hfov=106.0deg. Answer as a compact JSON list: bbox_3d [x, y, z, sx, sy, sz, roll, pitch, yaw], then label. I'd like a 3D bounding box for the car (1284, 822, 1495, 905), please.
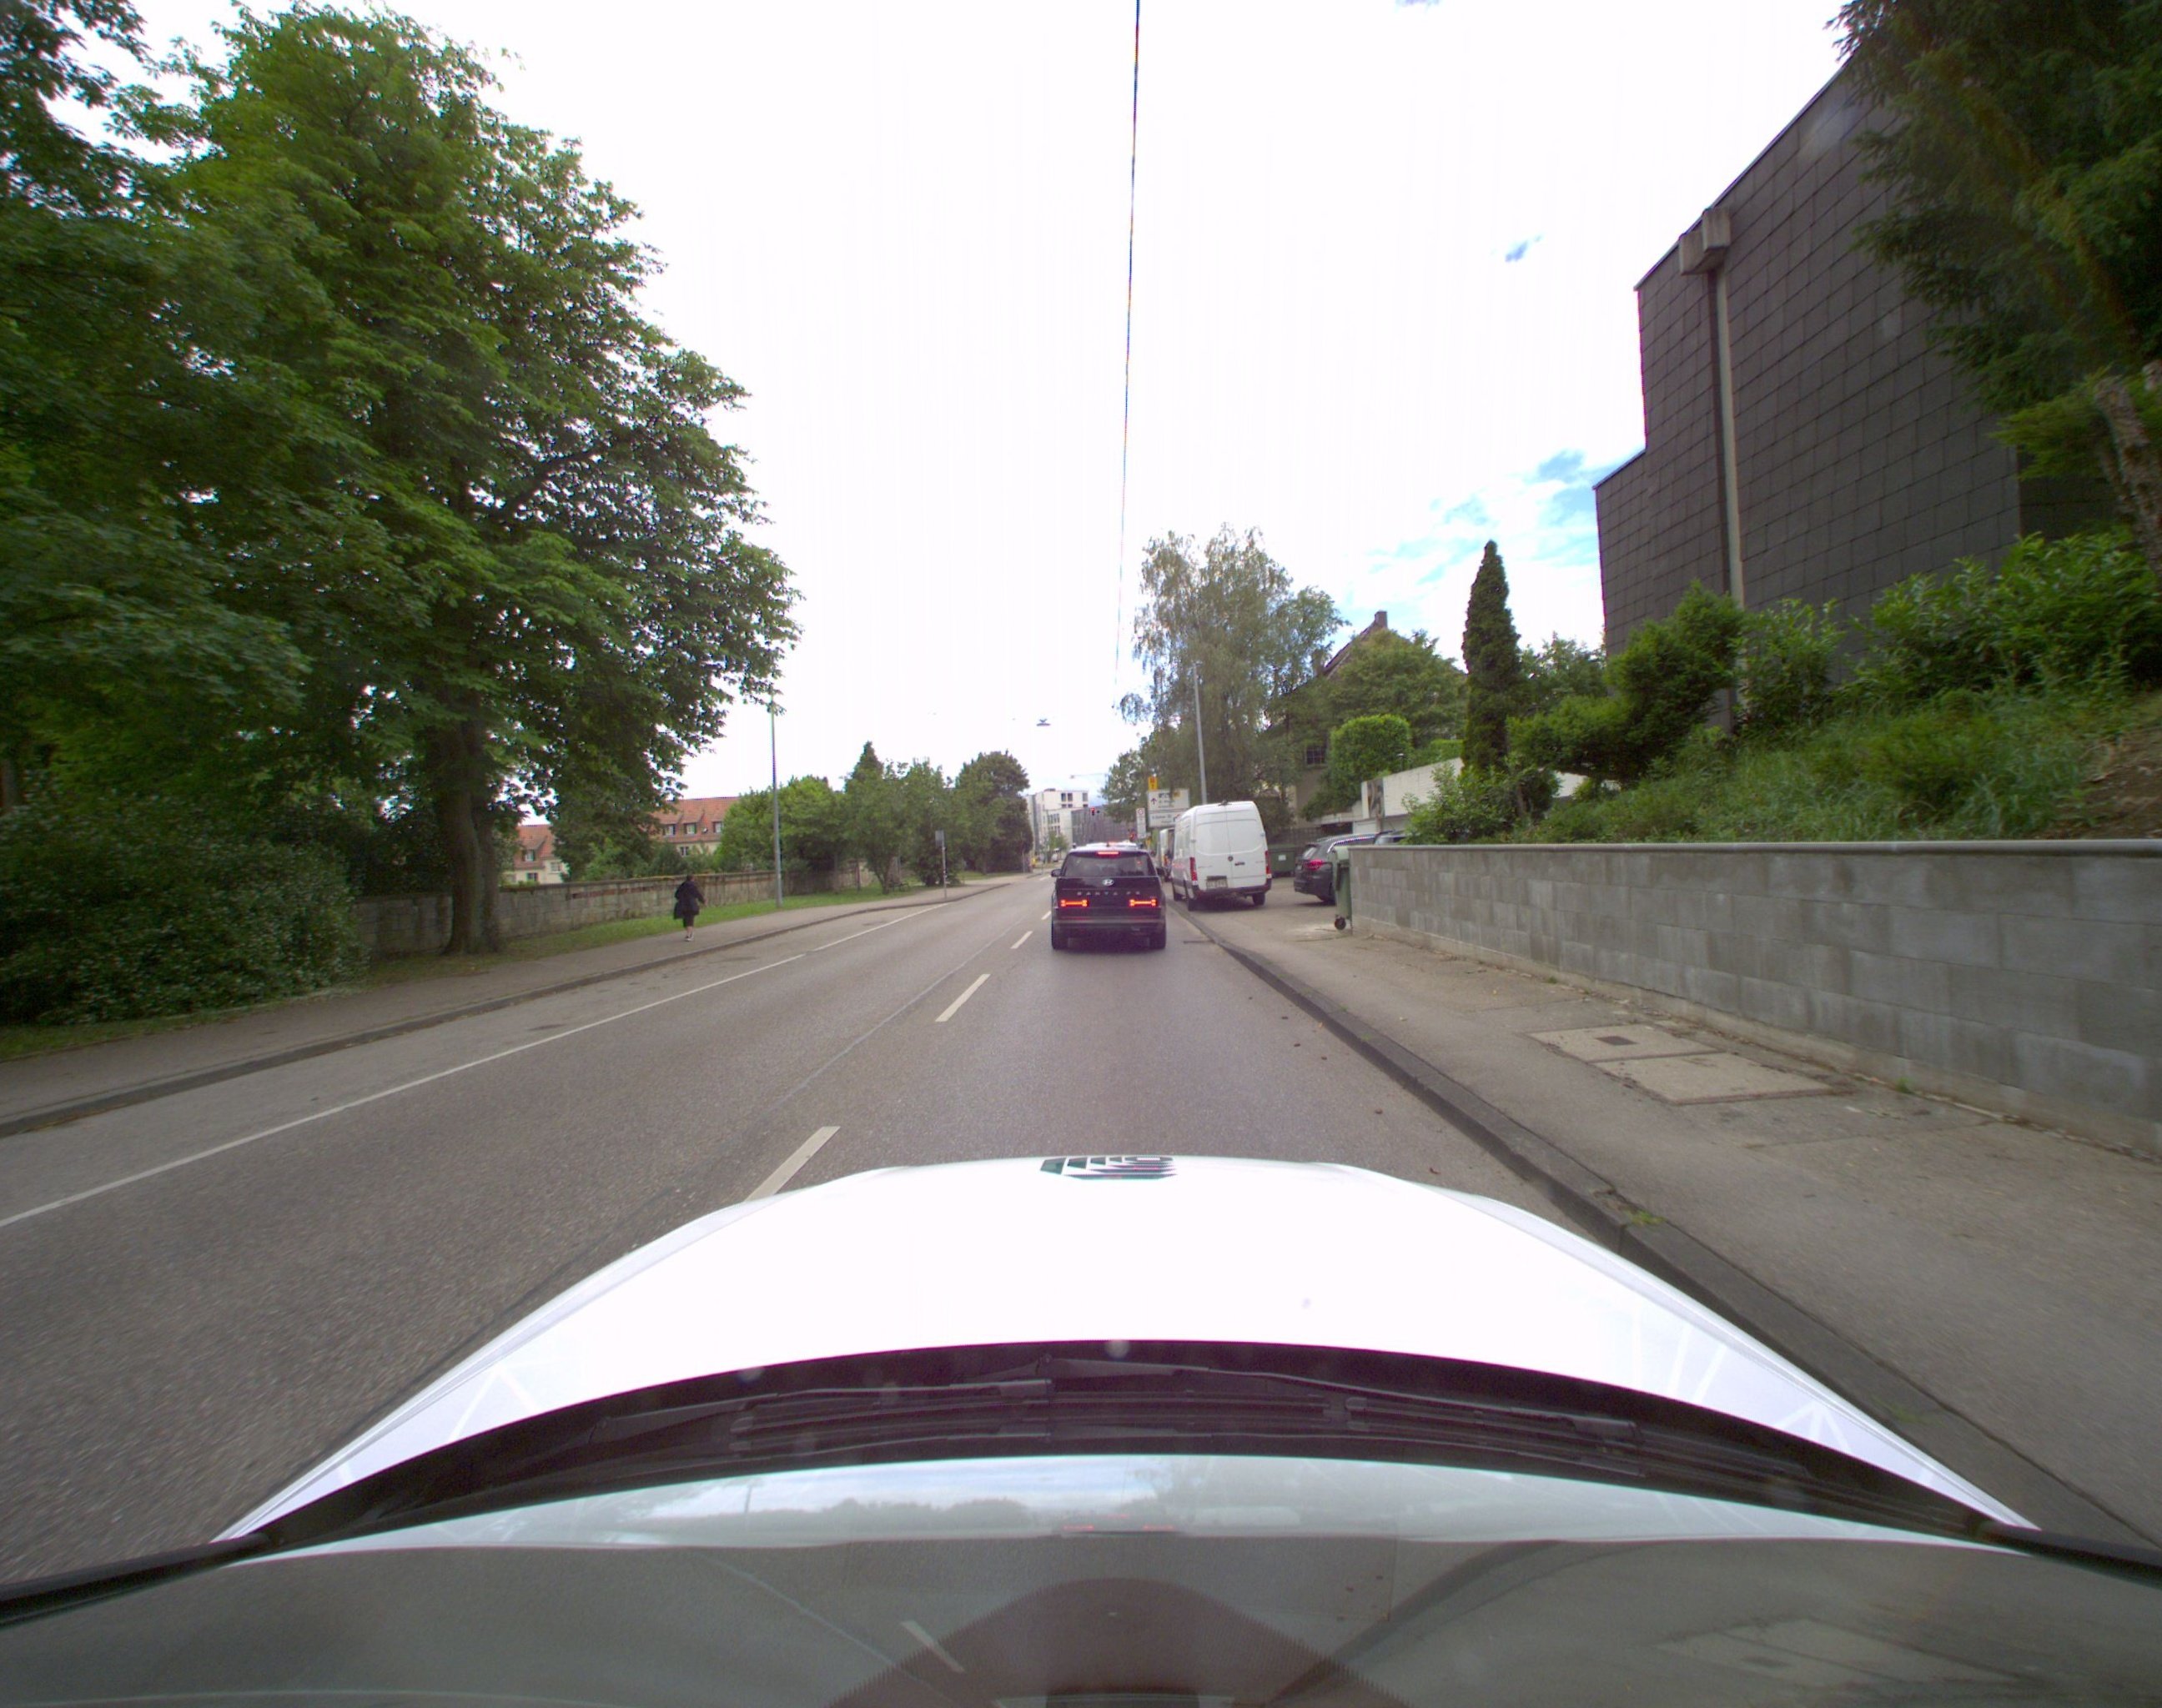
[{"bbox_3d":[7.368,0.233,19.775,4.376,1.652,1.831,-4,0,3],"label":"car"}]

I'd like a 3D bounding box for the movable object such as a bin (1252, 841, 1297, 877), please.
[{"bbox_3d":[8.429,0.218,35.539,1.447,1.473,1.715,-2,0,-4],"label":"movable object such as a bin"}]

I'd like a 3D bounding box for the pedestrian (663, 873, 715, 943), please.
[{"bbox_3d":[-9.277,1.252,19.300,0.747,1.578,0.965,-2,0,-3],"label":"pedestrian"}]

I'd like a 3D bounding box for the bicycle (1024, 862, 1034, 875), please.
[{"bbox_3d":[-5.424,1.488,84.669,0.675,1.279,2.490,-1,-2,-12],"label":"bicycle"}]

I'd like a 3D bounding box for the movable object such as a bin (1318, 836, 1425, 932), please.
[{"bbox_3d":[4.850,0.488,13.704,1.295,1.450,1.181,-4,-1,1],"label":"movable object such as a bin"}]

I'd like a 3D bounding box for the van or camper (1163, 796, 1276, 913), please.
[{"bbox_3d":[3.618,0.022,22.612,1.957,2.627,6.360,-5,0,1],"label":"van or camper"}]

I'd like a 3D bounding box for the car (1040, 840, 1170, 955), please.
[{"bbox_3d":[0.429,0.684,14.605,1.956,1.711,4.001,-2,0,2],"label":"car"}]

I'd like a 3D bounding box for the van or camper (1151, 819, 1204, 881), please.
[{"bbox_3d":[4.805,-0.183,41.427,1.957,2.797,5.288,-5,0,1],"label":"van or camper"}]

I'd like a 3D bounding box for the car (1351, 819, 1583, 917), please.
[{"bbox_3d":[7.679,0.271,16.506,3.780,1.652,1.832,-4,0,5],"label":"car"}]

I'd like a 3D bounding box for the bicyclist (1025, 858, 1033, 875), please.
[{"bbox_3d":[-5.428,1.315,84.704,0.676,1.659,0.855,-1,-2,-12],"label":"bicyclist"}]

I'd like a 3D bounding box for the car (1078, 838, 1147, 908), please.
[{"bbox_3d":[0.965,0.569,25.861,1.957,2.001,4.001,-2,0,1],"label":"car"}]

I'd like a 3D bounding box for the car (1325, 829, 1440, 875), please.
[{"bbox_3d":[12.312,-0.086,33.428,3.975,1.711,1.969,-2,0,-1],"label":"car"}]
